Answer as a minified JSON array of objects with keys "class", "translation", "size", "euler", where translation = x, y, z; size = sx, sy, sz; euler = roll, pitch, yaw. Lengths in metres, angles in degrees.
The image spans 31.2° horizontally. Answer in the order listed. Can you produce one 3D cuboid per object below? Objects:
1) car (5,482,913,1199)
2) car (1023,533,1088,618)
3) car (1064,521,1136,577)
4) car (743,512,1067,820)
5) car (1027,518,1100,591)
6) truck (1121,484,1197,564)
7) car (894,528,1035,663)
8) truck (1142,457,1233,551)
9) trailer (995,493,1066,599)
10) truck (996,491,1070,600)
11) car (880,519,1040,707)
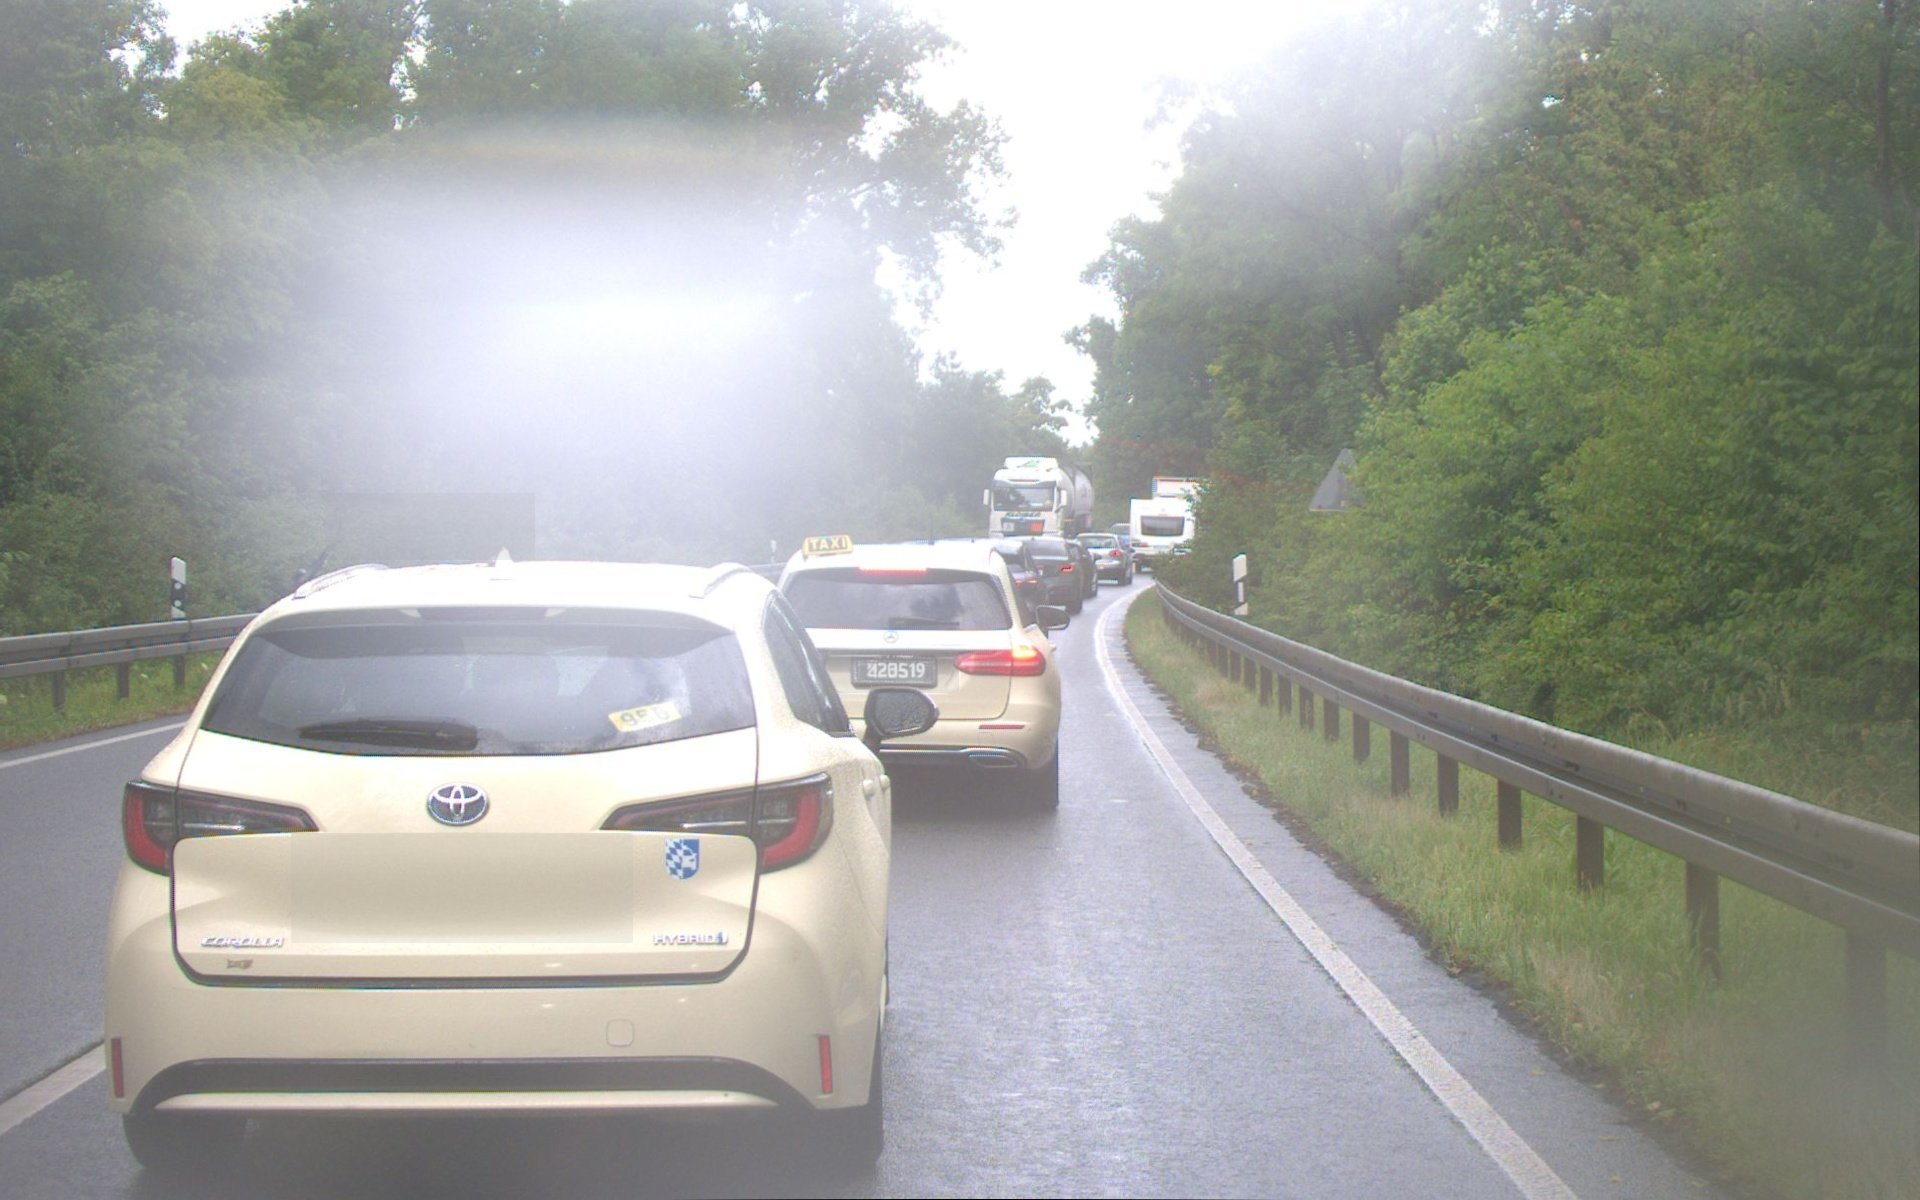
[{"class":"car","translation":[-1.052,0.537,9.108],"size":[1.833,1.575,4.157],"euler":[1,1,-1]},{"class":"car","translation":[1.820,-0.467,64.958],"size":[1.167,1.541,2.604],"euler":[1,1,2]},{"class":"car","translation":[4.056,-1.460,99.118],"size":[1.770,1.541,3.813],"euler":[1,1,7]},{"class":"car","translation":[-0.249,0.322,19.825],"size":[1.667,1.575,3.892],"euler":[1,1,1]},{"class":"car","translation":[2.347,-1.040,78.826],"size":[1.616,1.607,3.621],"euler":[1,1,1]},{"class":"truck","translation":[6.999,-2.631,121.463],"size":[2.550,2.704,7.534],"euler":[1,1,3]},{"class":"car","translation":[0.089,-0.091,41.366],"size":[1.611,1.541,3.814],"euler":[0,1,1]},{"class":"truck","translation":[9.301,-3.864,140.081],"size":[3.108,3.668,6.998],"euler":[1,1,8]},{"class":"trailer","translation":[2.654,-2.009,129.324],"size":[2.536,3.812,7.791],"euler":[1,1,1]},{"class":"truck","translation":[2.609,-1.953,123.936],"size":[2.536,3.812,5.245],"euler":[1,1,0]},{"class":"car","translation":[-0.007,0.091,30.050],"size":[1.300,1.541,3.260],"euler":[1,1,0]}]
